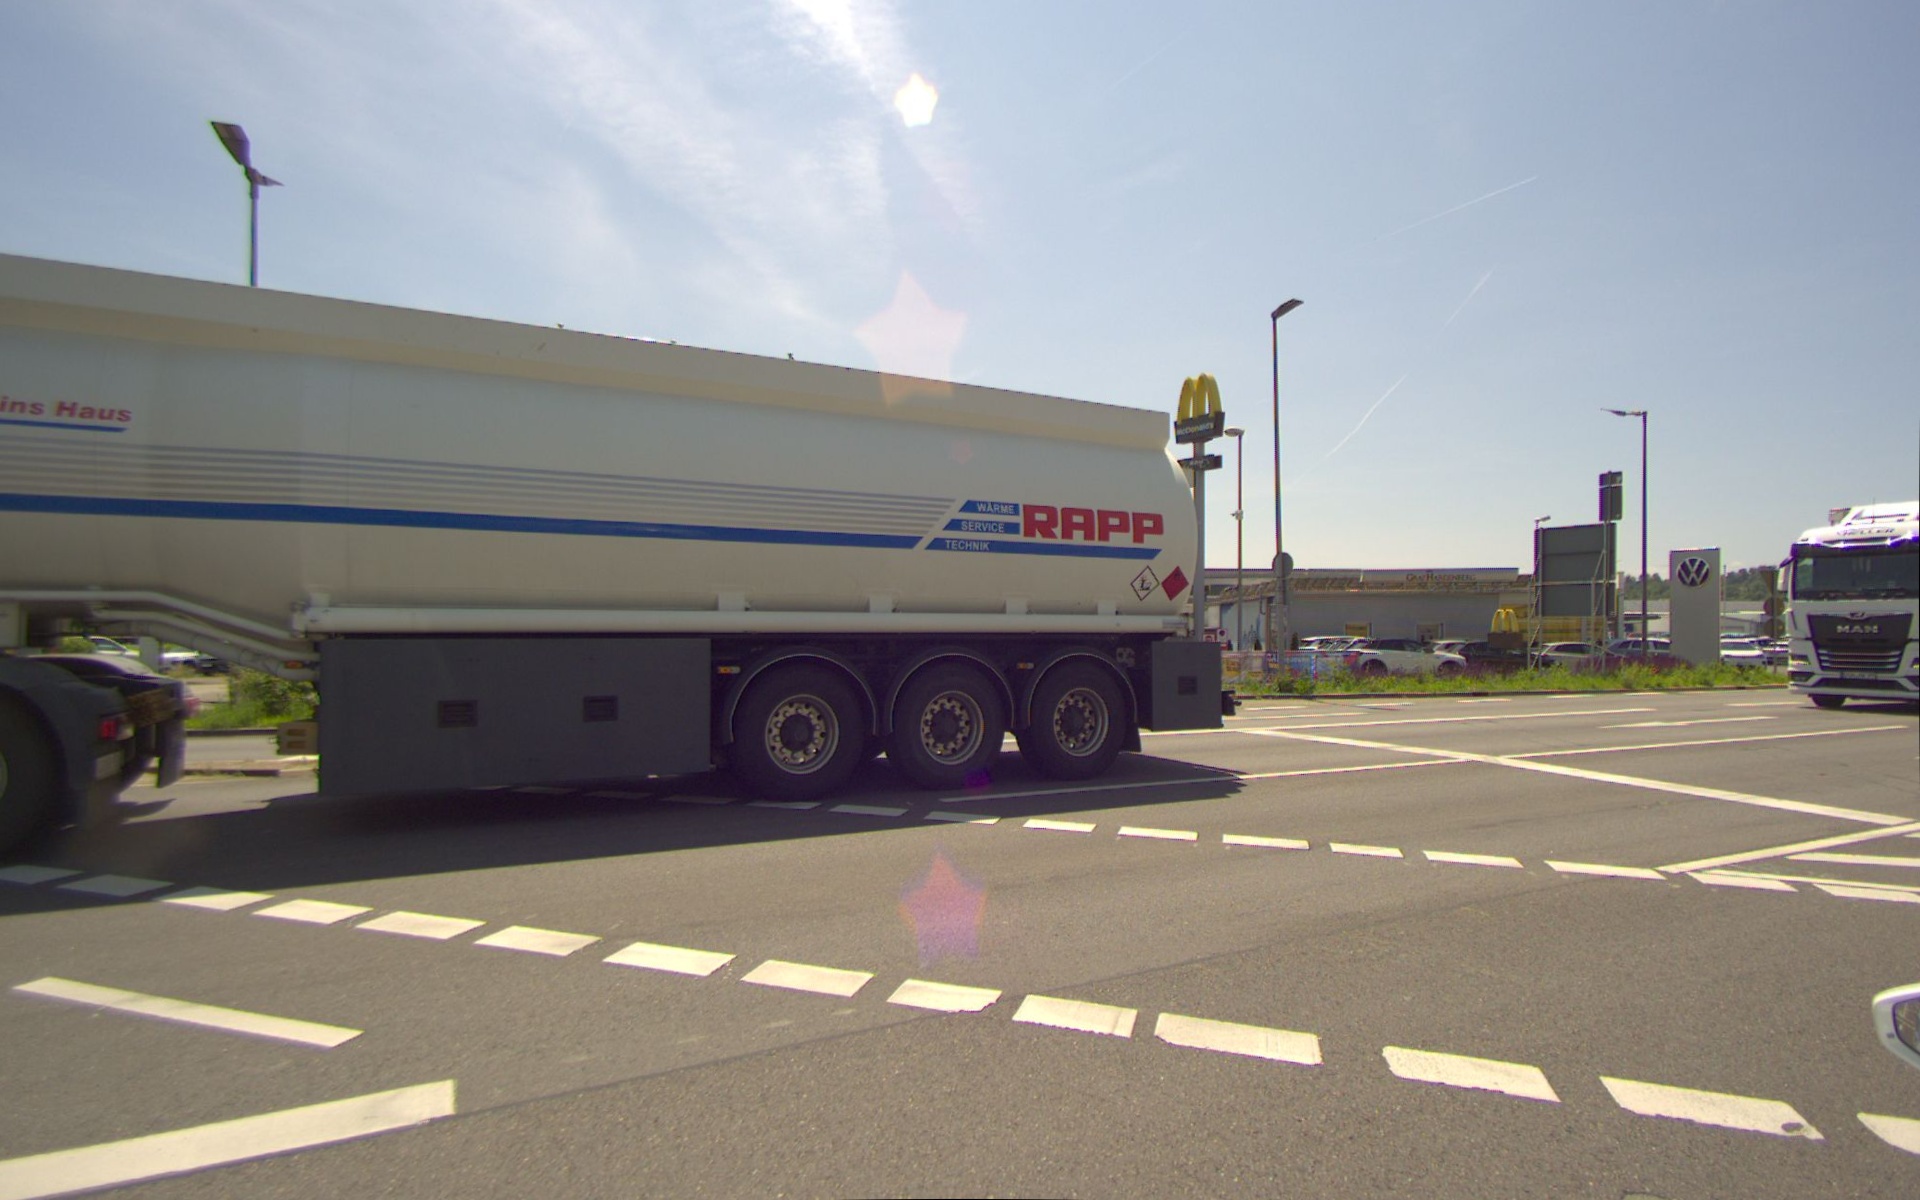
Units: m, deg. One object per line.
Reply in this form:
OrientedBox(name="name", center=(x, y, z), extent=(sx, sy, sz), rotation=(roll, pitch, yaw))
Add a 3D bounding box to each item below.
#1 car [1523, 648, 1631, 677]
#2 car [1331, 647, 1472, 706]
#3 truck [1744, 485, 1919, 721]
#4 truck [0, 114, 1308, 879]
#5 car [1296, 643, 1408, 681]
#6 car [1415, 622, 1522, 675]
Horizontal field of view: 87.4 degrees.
OrientedBox(name="car", center=(24.490, 2.455, 39.952), extent=(3.301, 1.082, 1.564), rotation=(0, -2, 6))
OrientedBox(name="car", center=(15.657, 2.722, 35.847), extent=(4.154, 2.040, 2.002), rotation=(-1, -3, 8))
OrientedBox(name="truck", center=(20.866, 0.194, 21.110), extent=(10.225, 4.159, 3.017), rotation=(1, -2, -28))
OrientedBox(name="truck", center=(-3.734, -0.464, 7.549), extent=(14.941, 4.071, 2.595), rotation=(2, -2, -28))
OrientedBox(name="car", center=(16.159, 2.560, 41.575), extent=(3.920, 1.483, 2.001), rotation=(0, -2, 4))
OrientedBox(name="car", center=(20.328, 1.936, 40.246), extent=(3.429, 2.040, 1.713), rotation=(0, -2, 6))
